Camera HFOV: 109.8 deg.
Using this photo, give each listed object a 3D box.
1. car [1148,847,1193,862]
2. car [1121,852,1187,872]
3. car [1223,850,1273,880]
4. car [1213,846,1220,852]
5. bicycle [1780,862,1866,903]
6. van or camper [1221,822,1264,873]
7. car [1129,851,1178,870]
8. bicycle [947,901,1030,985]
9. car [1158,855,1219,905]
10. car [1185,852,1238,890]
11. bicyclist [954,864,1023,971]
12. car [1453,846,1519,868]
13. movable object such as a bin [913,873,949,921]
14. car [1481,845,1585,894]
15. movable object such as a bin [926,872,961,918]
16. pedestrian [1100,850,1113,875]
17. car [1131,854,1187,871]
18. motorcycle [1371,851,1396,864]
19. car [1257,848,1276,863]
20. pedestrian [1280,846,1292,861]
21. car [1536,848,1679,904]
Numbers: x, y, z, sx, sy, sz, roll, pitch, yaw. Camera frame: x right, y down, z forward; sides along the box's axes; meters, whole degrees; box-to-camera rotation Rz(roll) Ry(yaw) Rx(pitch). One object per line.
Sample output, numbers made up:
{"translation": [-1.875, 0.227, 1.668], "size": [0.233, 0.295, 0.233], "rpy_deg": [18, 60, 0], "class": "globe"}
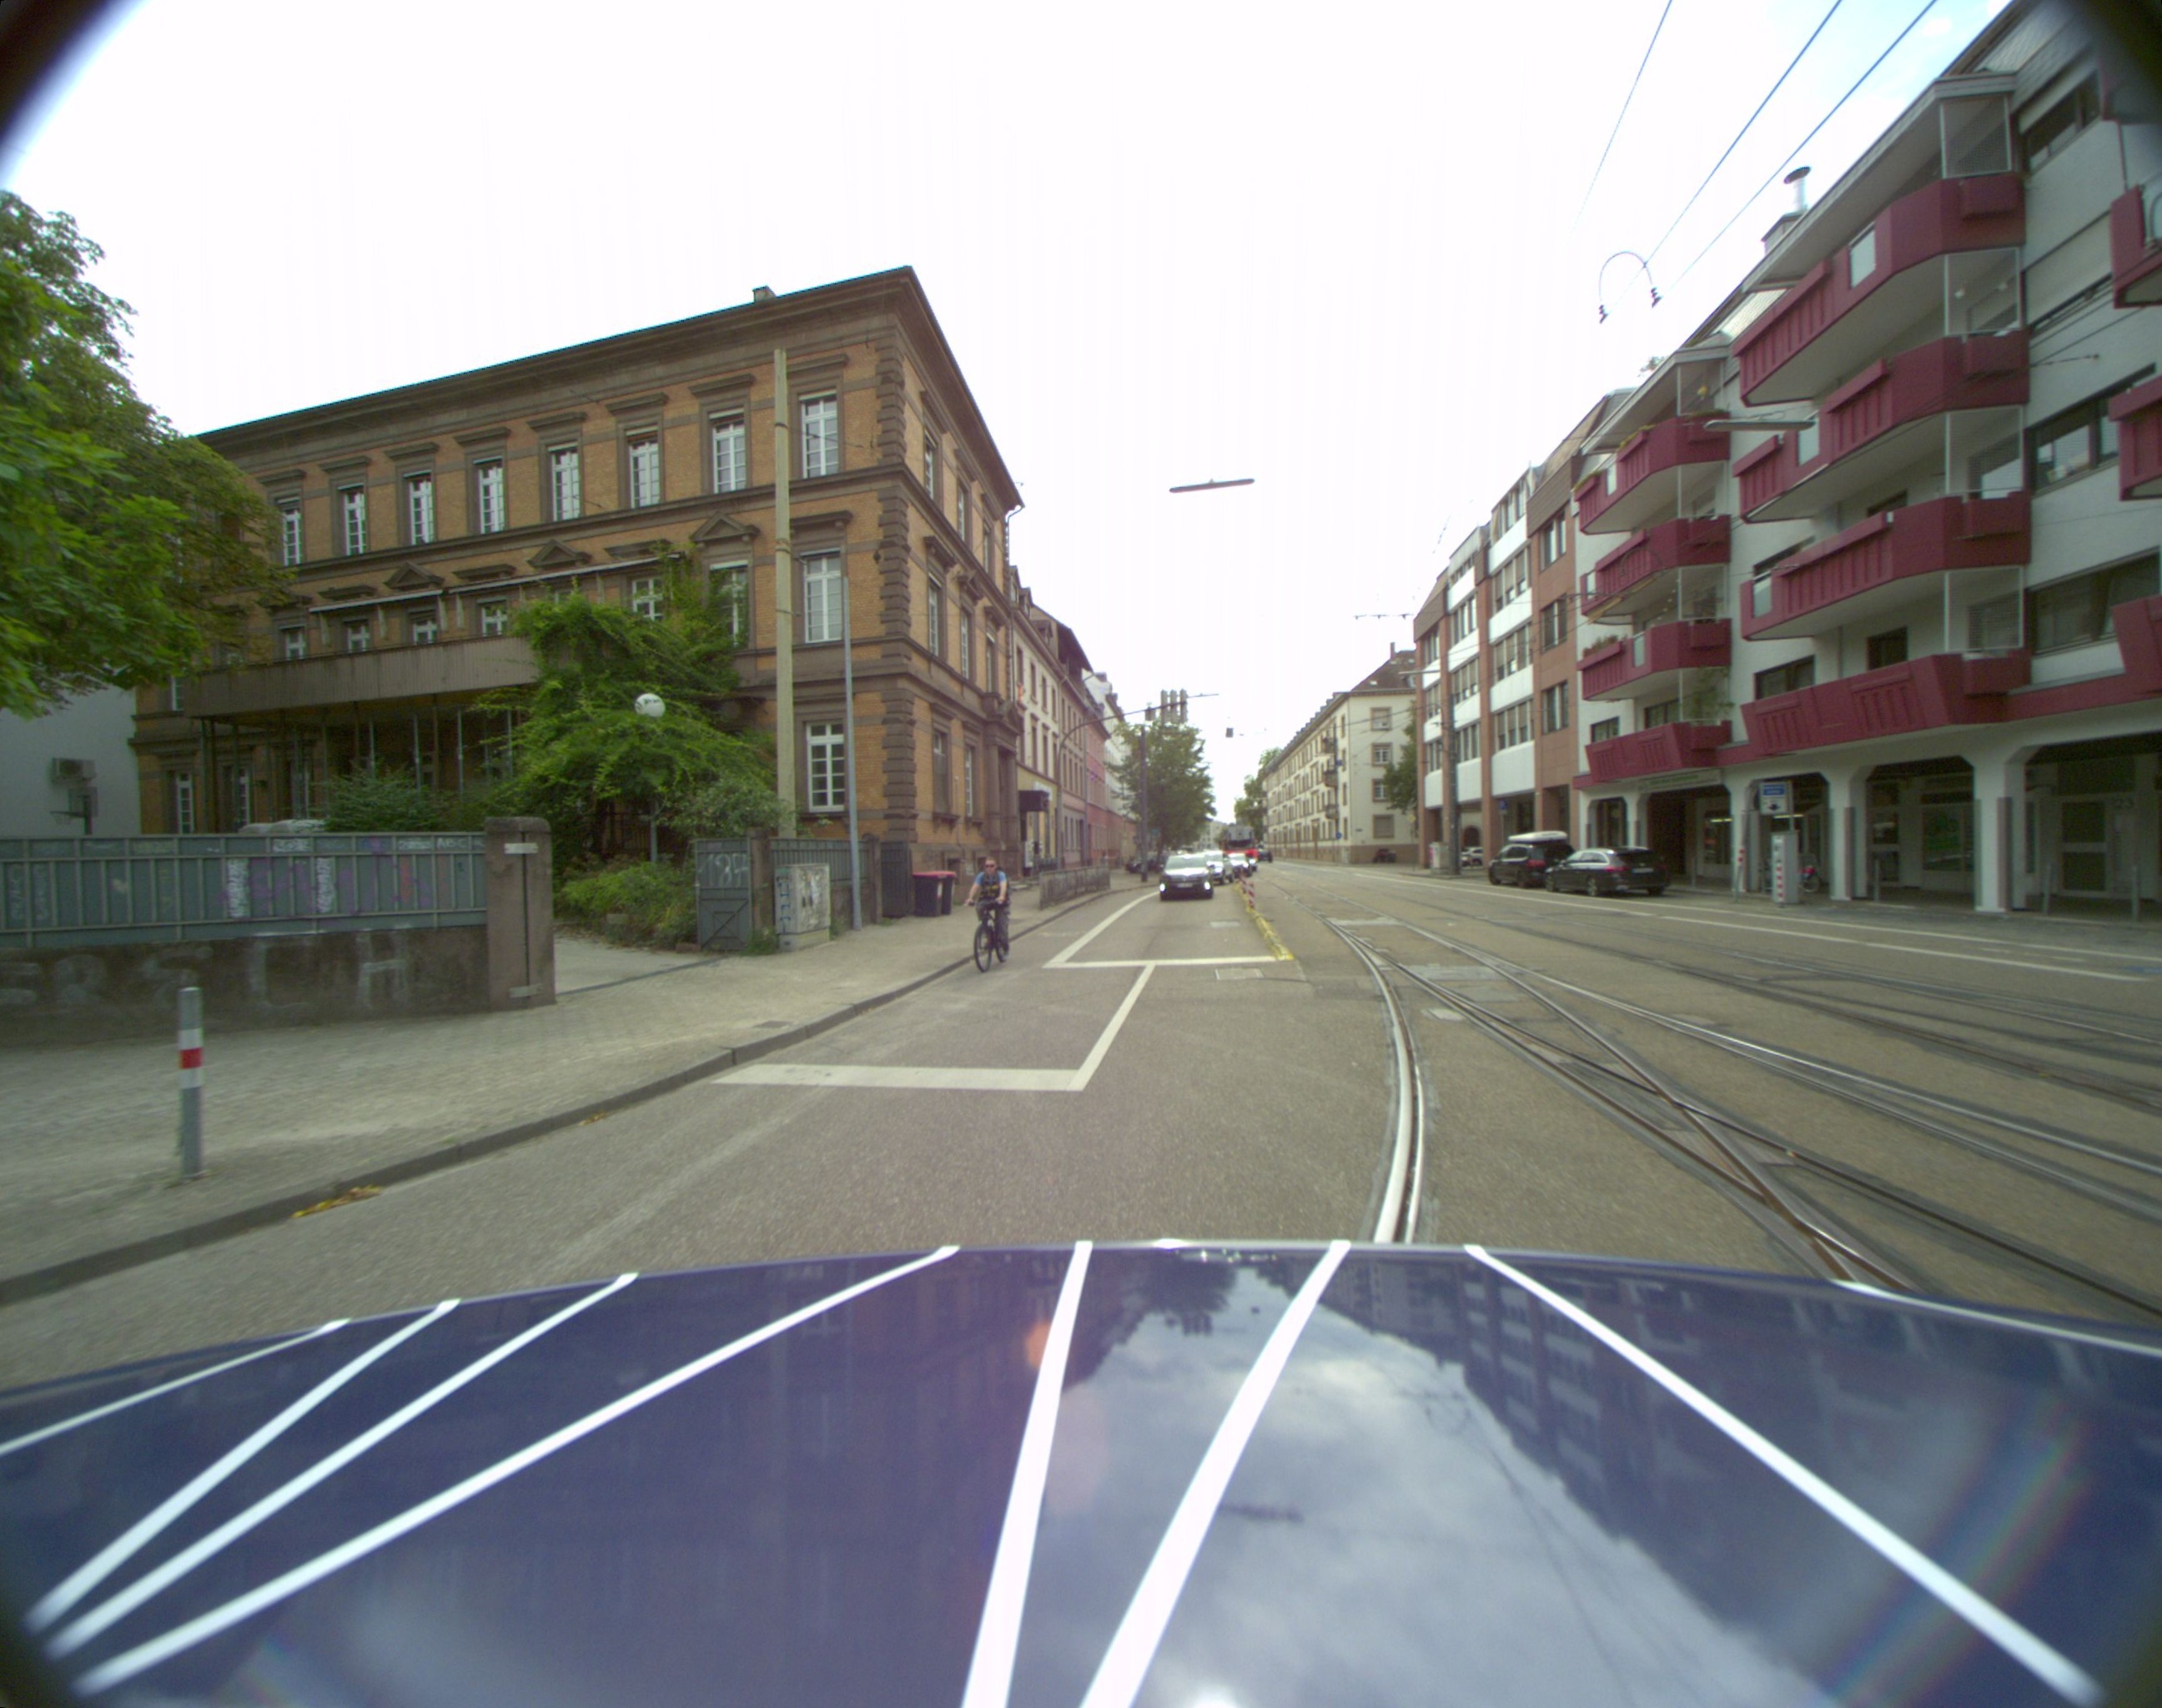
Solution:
{"translation": [9.954, 0.063, 84.721], "size": [4.631, 1.688, 1.914], "rpy_deg": [0, 0, -14], "class": "car"}
{"translation": [5.523, 0.579, 57.451], "size": [4.631, 1.464, 1.787], "rpy_deg": [0, 0, -14], "class": "car"}
{"translation": [9.908, 0.635, 44.771], "size": [1.770, 1.526, 4.055], "rpy_deg": [-2, 0, 28], "class": "car"}
{"translation": [42.254, -1.485, 236.614], "size": [1.898, 1.806, 4.003], "rpy_deg": [-1, 1, 10], "class": "car"}
{"translation": [18.351, 0.685, 18.842], "size": [0.565, 0.948, 1.650], "rpy_deg": [-1, 1, 3], "class": "bicycle"}
{"translation": [12.002, -0.497, 57.275], "size": [2.605, 3.401, 9.658], "rpy_deg": [-1, 1, 9], "class": "van or camper"}
{"translation": [6.843, 0.597, 71.845], "size": [4.242, 1.688, 1.737], "rpy_deg": [0, 0, -14], "class": "car"}
{"translation": [-1.371, 1.313, 11.592], "size": [0.714, 1.012, 1.801], "rpy_deg": [-5, 0, 9], "class": "bicycle"}
{"translation": [3.936, 0.877, 27.266], "size": [1.772, 1.538, 4.286], "rpy_deg": [-3, 0, 13], "class": "car"}
{"translation": [6.341, 0.769, 36.558], "size": [1.771, 1.582, 4.287], "rpy_deg": [-3, 0, 19], "class": "car"}
{"translation": [-1.387, 0.934, 11.523], "size": [0.715, 1.498, 0.919], "rpy_deg": [-4, 0, 8], "class": "bicyclist"}
{"translation": [27.791, 0.213, 52.201], "size": [3.646, 1.380, 1.612], "rpy_deg": [-1, 1, 1], "class": "car"}
{"translation": [-3.632, 1.036, 18.378], "size": [0.652, 1.076, 0.678], "rpy_deg": [2, 2, 6], "class": "movable object such as a bin"}
{"translation": [17.219, 0.516, 29.220], "size": [1.810, 1.637, 4.701], "rpy_deg": [-3, 0, 9], "class": "car"}
{"translation": [-3.438, 1.016, 19.070], "size": [0.664, 1.076, 0.701], "rpy_deg": [2, 2, 6], "class": "movable object such as a bin"}
{"translation": [1.773, 0.583, 52.726], "size": [0.731, 1.679, 0.927], "rpy_deg": [3, 1, 9], "class": "pedestrian"}
{"translation": [6.627, 0.710, 64.573], "size": [4.348, 1.471, 1.787], "rpy_deg": [0, 0, -14], "class": "car"}
{"translation": [26.495, 0.335, 66.525], "size": [1.923, 1.080, 0.793], "rpy_deg": [-1, 1, 10], "class": "motorcycle"}
{"translation": [21.358, 0.145, 87.589], "size": [1.772, 1.528, 4.051], "rpy_deg": [-3, 0, 11], "class": "car"}
{"translation": [24.985, -0.102, 92.723], "size": [1.003, 1.831, 1.016], "rpy_deg": [-2, 1, -40], "class": "pedestrian"}
{"translation": [16.088, 0.606, 23.539], "size": [1.758, 1.471, 4.701], "rpy_deg": [-3, 0, 9], "class": "car"}
